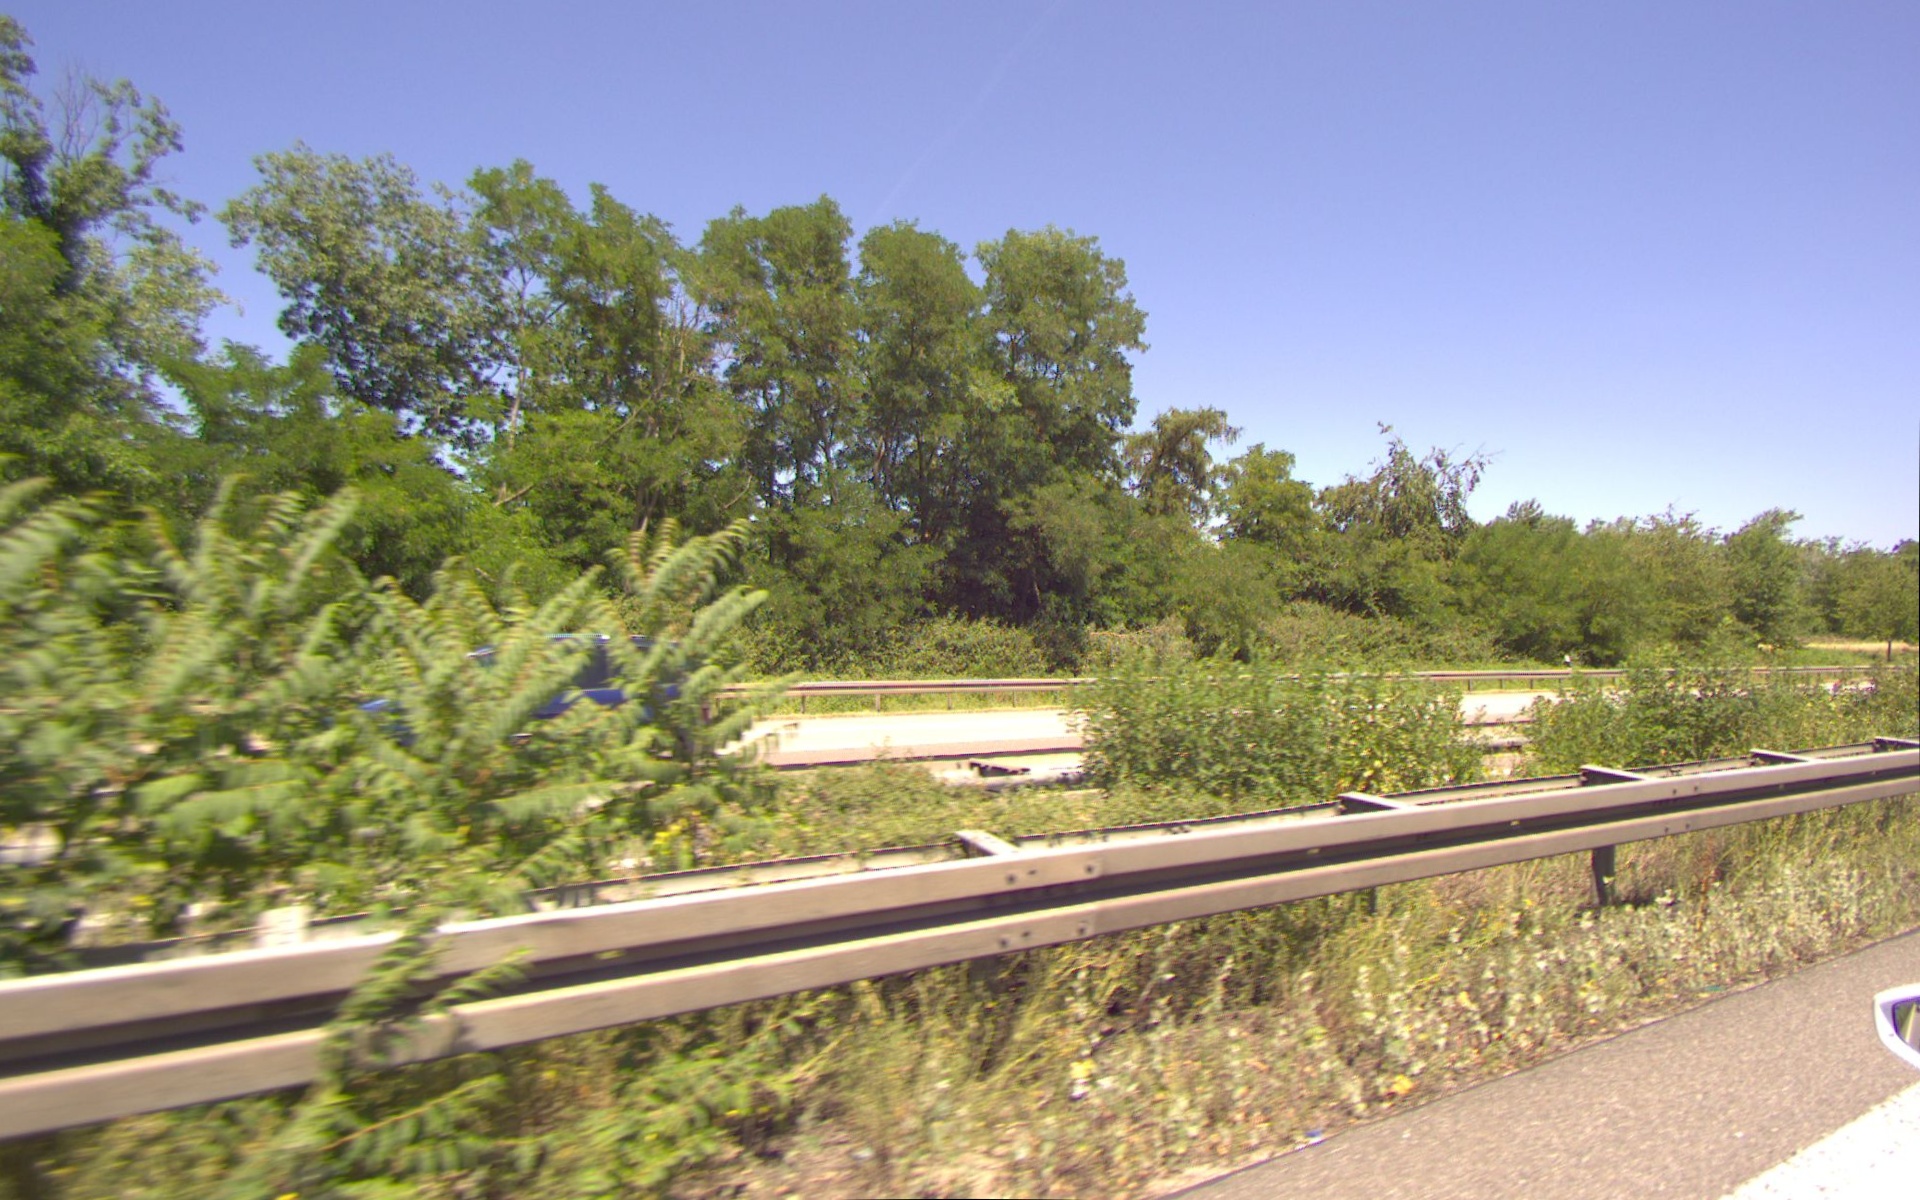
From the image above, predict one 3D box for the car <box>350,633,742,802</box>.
[{"bbox_3d":[-4.494,1.186,11.086,3.732,1.571,1.762,2,-3,-30],"label":"car"}]
